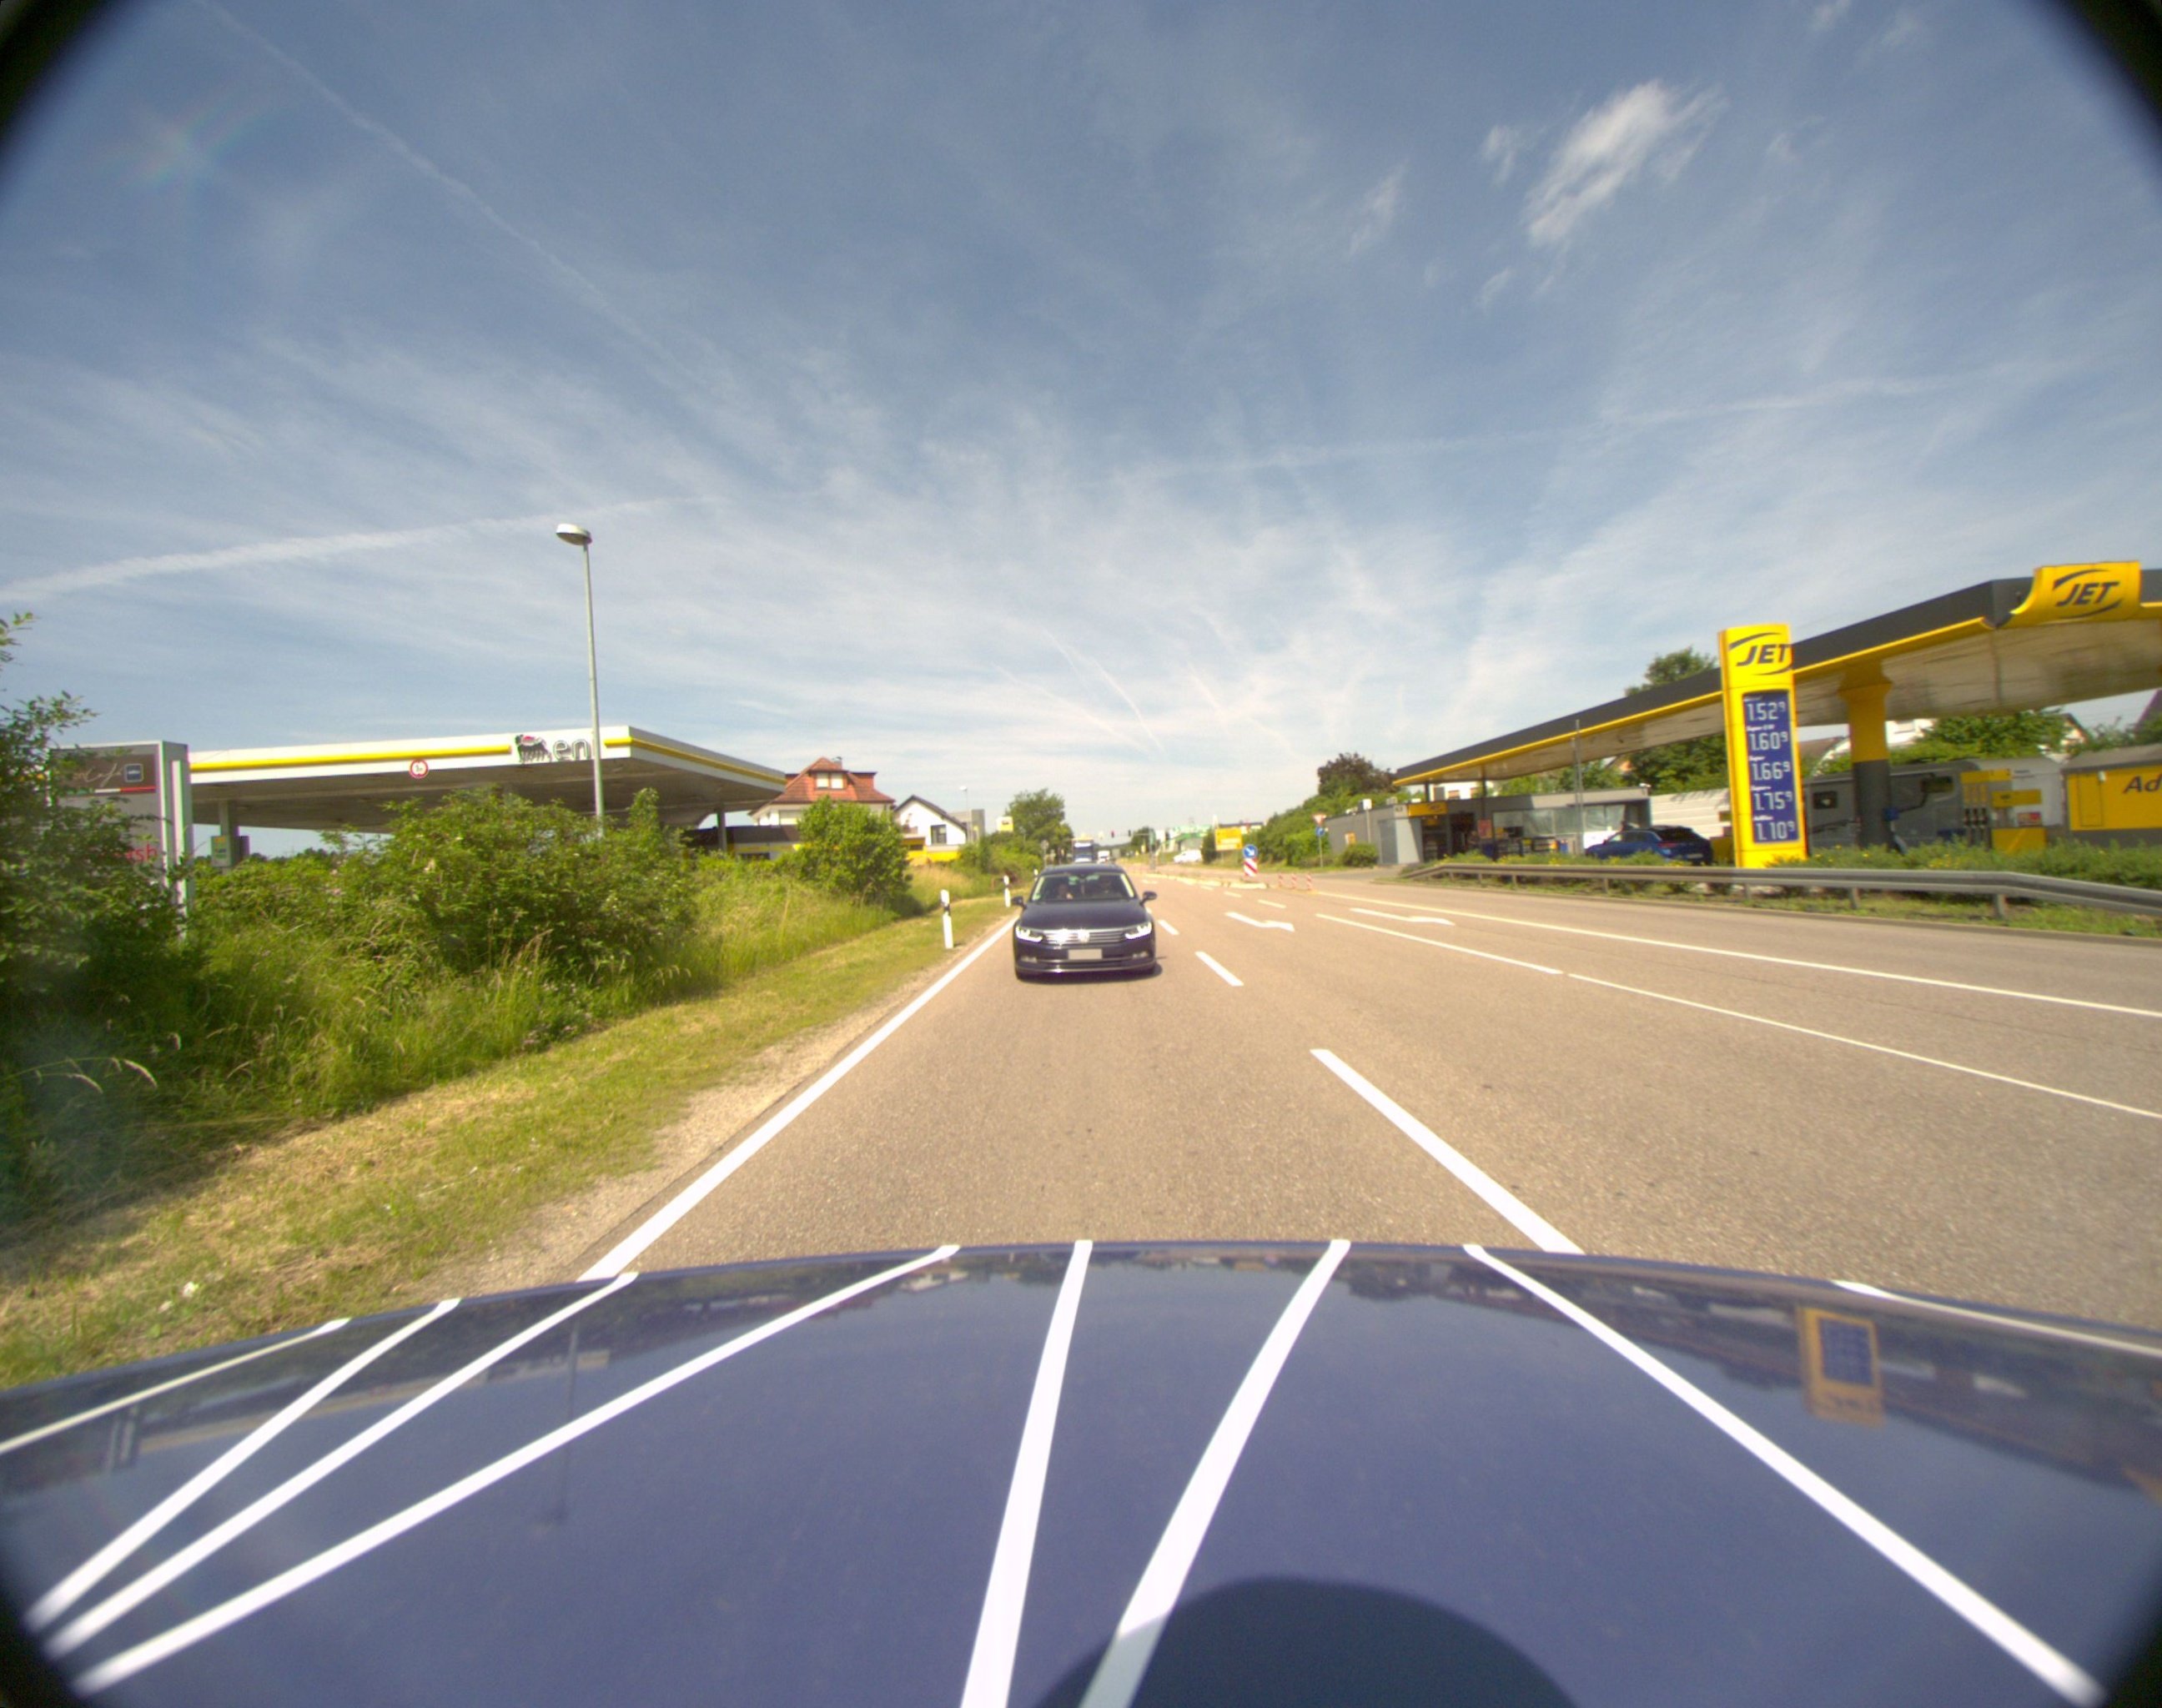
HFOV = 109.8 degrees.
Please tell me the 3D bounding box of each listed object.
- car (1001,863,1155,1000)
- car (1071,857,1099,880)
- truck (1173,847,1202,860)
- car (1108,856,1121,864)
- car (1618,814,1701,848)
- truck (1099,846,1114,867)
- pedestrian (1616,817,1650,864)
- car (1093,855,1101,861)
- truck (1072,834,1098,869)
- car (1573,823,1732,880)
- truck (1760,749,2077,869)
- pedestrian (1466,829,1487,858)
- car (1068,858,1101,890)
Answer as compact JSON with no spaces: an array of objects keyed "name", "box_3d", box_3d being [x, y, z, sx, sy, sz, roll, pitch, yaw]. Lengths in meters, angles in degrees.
[{"name":"car","box_3d":[0.021,0.949,11.412,1.756,1.493,4.925,-2,0,1]},{"name":"car","box_3d":[0.322,0.984,53.793,1.814,1.466,3.974,-2,0,2]},{"name":"truck","box_3d":[19.280,-0.144,137.650,4.773,1.997,1.999,-4,0,-5]},{"name":"car","box_3d":[5.056,0.897,115.075,1.786,1.210,4.000,-3,0,2]},{"name":"car","box_3d":[32.541,-1.265,42.869,1.619,1.724,3.987,-3,1,2]},{"name":"truck","box_3d":[5.158,0.520,156.029,2.855,3.999,12.917,-2,0,1]},{"name":"pedestrian","box_3d":[22.077,-0.530,30.403,0.798,1.827,0.640,-3,0,1]},{"name":"car","box_3d":[4.433,1.186,205.682,1.847,1.477,4.001,-3,0,4]},{"name":"truck","box_3d":[0.632,-0.304,94.879,2.855,3.999,12.917,-2,0,1]},{"name":"car","box_3d":[19.049,-0.062,25.617,1.999,1.696,4.264,-2,0,-3]},{"name":"truck","box_3d":[23.829,-1.166,22.199,2.250,2.906,6.283,-3,1,0]},{"name":"pedestrian","box_3d":[20.087,-0.548,38.579,0.913,1.419,0.495,-2,1,26]},{"name":"car","box_3d":[0.221,0.956,37.625,1.471,1.451,3.797,-2,0,1]}]
